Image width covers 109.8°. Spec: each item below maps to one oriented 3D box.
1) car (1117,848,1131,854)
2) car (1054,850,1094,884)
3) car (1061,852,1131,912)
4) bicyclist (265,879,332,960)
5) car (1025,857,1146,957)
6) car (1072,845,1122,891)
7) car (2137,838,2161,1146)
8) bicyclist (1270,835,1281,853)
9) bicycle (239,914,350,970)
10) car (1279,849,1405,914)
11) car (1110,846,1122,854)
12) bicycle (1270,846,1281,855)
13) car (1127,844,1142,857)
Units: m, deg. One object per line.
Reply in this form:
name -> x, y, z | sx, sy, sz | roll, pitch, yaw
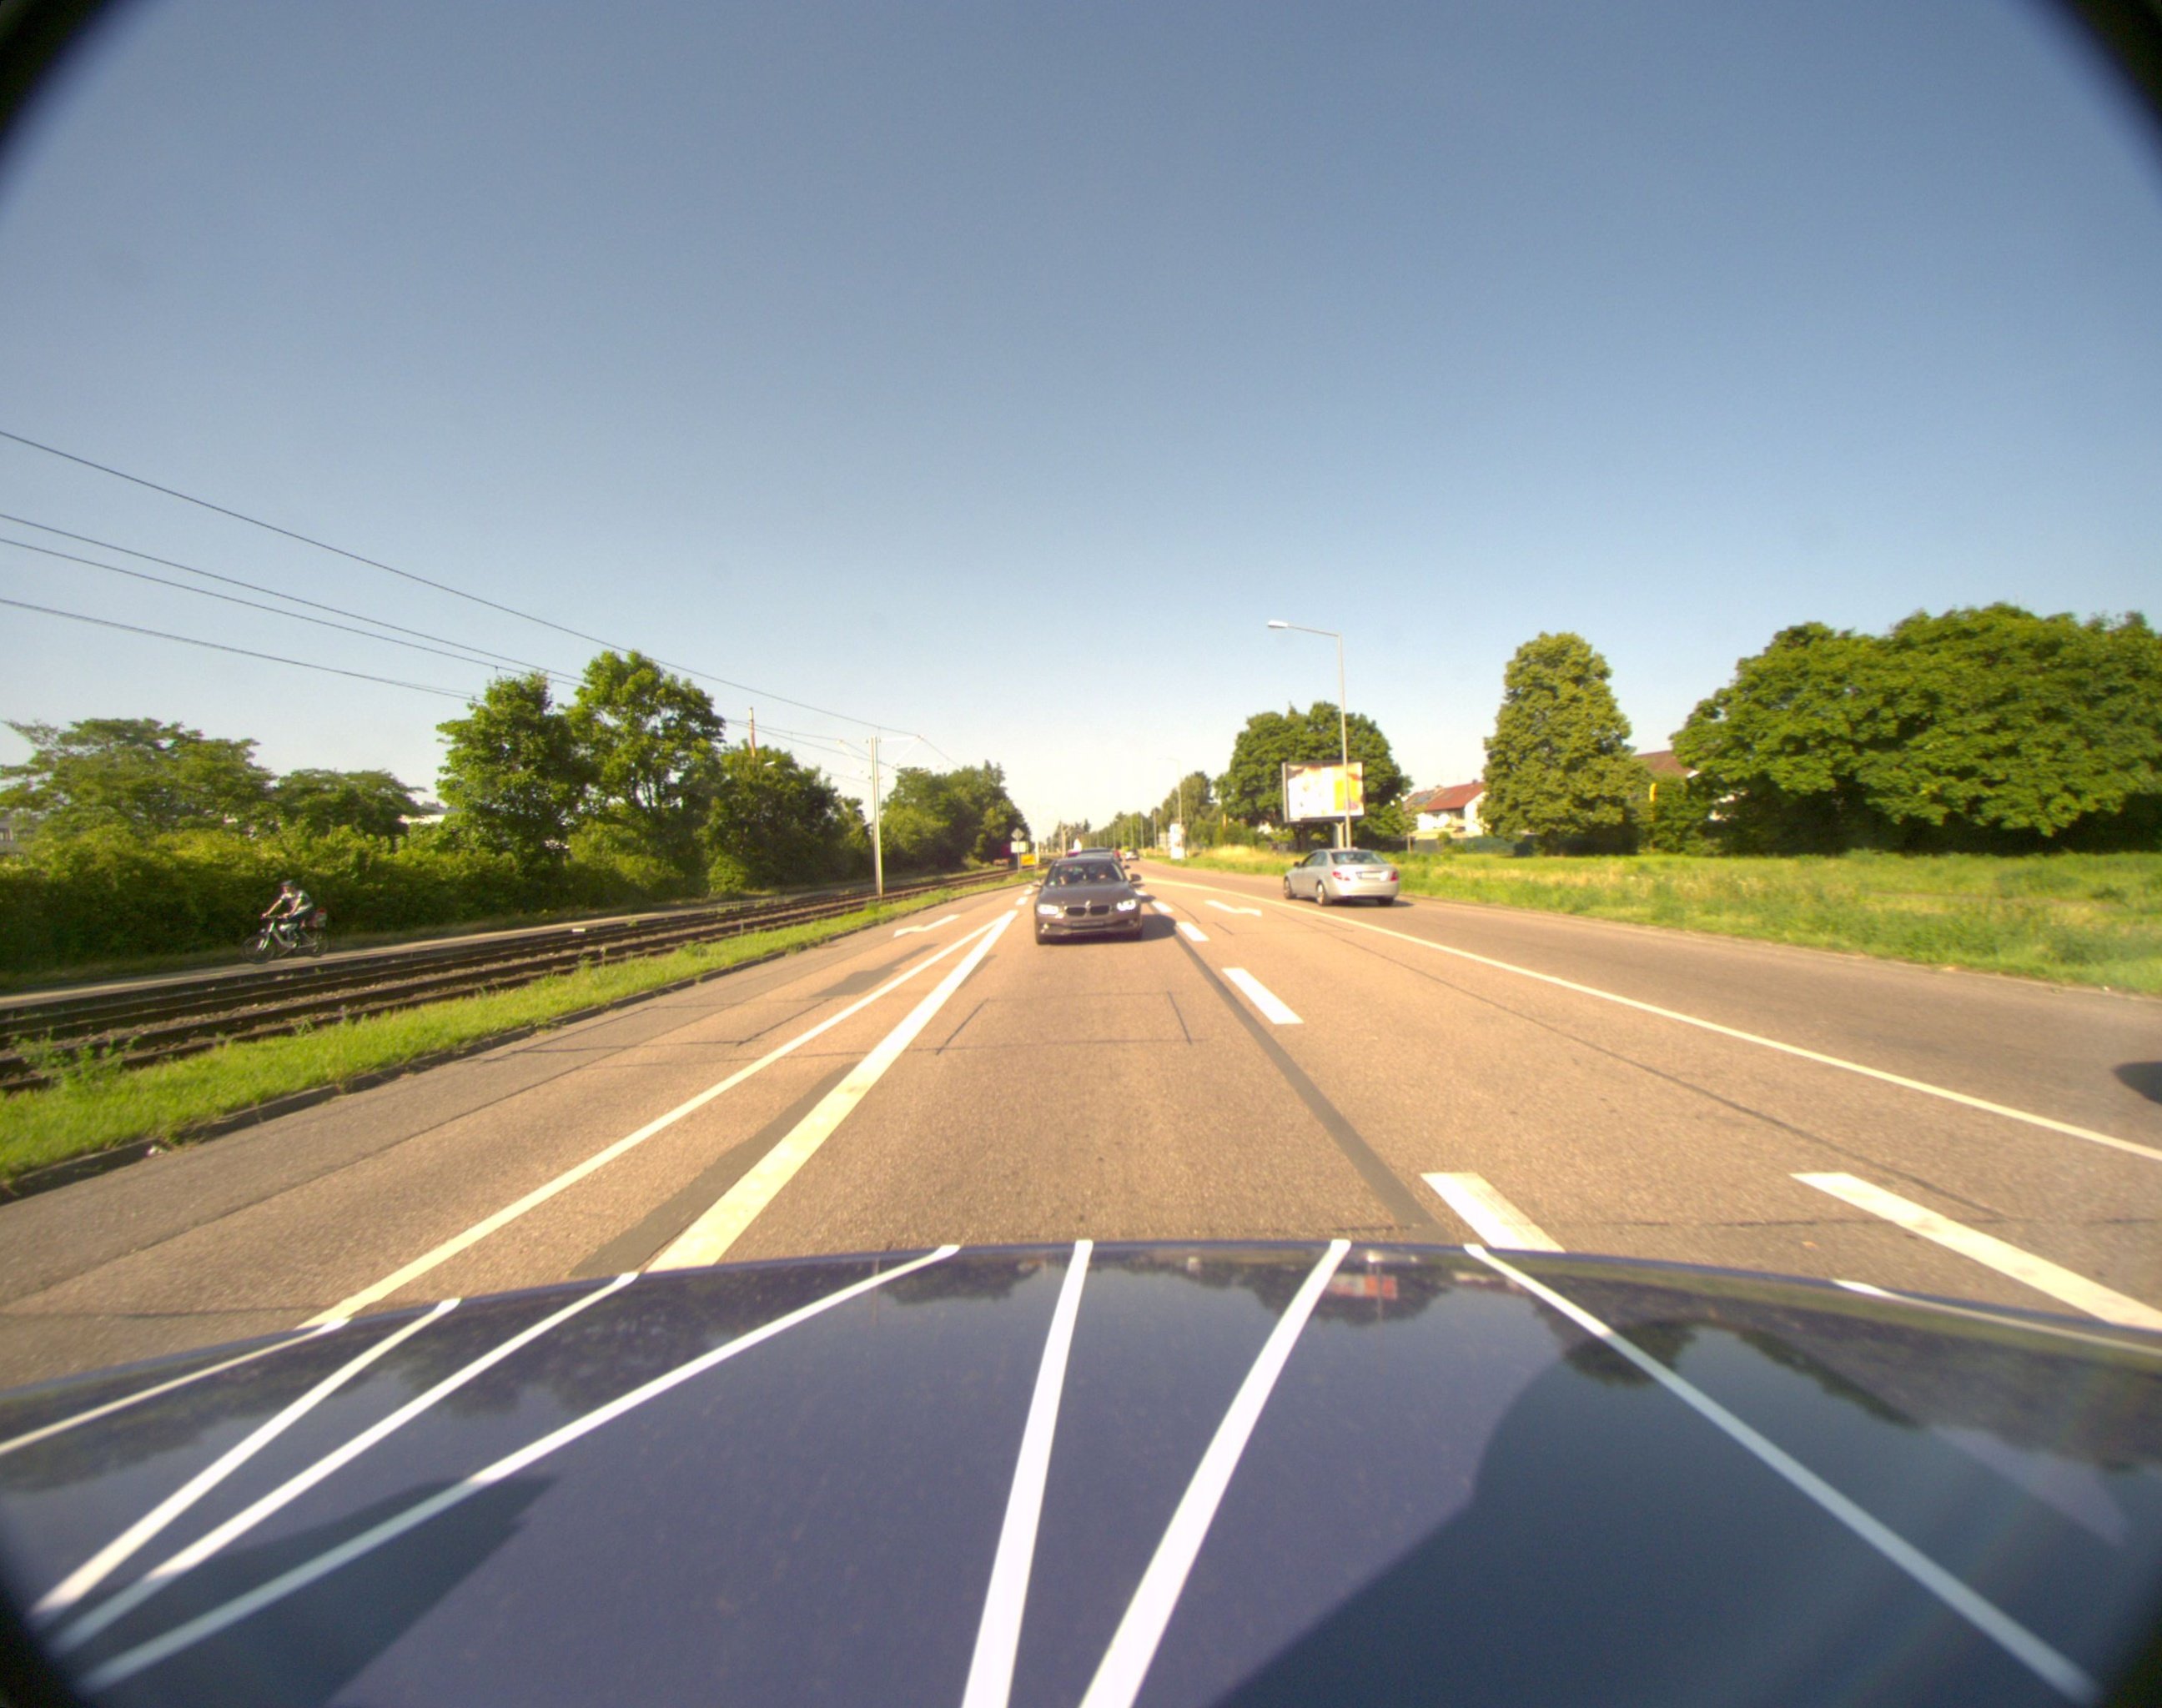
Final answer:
car -> 10.972, -0.761, 193.871 | 1.781, 1.469, 4.279 | -1, 1, 27
car -> -0.304, 0.599, 37.756 | 1.807, 1.498, 4.197 | -2, 1, 1
car -> 0.440, 0.749, 22.714 | 1.821, 1.481, 4.611 | -2, 1, 1
bicyclist -> -18.310, 1.522, 17.800 | 0.708, 1.797, 0.717 | -2, 1, 1
car -> 0.121, 0.841, 14.256 | 1.821, 1.416, 4.461 | -4, 1, 1
car -> 0.657, 0.513, 31.319 | 1.821, 1.641, 4.611 | -4, 1, 1
car -> 6.245, 0.707, 1.884 | 1.749, 1.553, 4.000 | -1, 1, 2
bicyclist -> 16.175, -0.813, 63.119 | 0.638, 1.420, 1.071 | -2, 1, 1
bicycle -> -18.264, 2.016, 17.714 | 0.547, 1.041, 1.873 | -2, 1, 1
car -> 6.635, 0.624, 19.832 | 1.707, 1.456, 4.368 | -1, 1, -1
car -> 6.210, -0.728, 135.726 | 1.699, 1.490, 3.674 | -1, 1, -4
bicycle -> 16.173, -0.300, 63.265 | 0.455, 0.749, 1.834 | -2, 1, 1
car -> 6.621, -0.482, 94.841 | 1.637, 1.551, 3.675 | -2, 1, 1
